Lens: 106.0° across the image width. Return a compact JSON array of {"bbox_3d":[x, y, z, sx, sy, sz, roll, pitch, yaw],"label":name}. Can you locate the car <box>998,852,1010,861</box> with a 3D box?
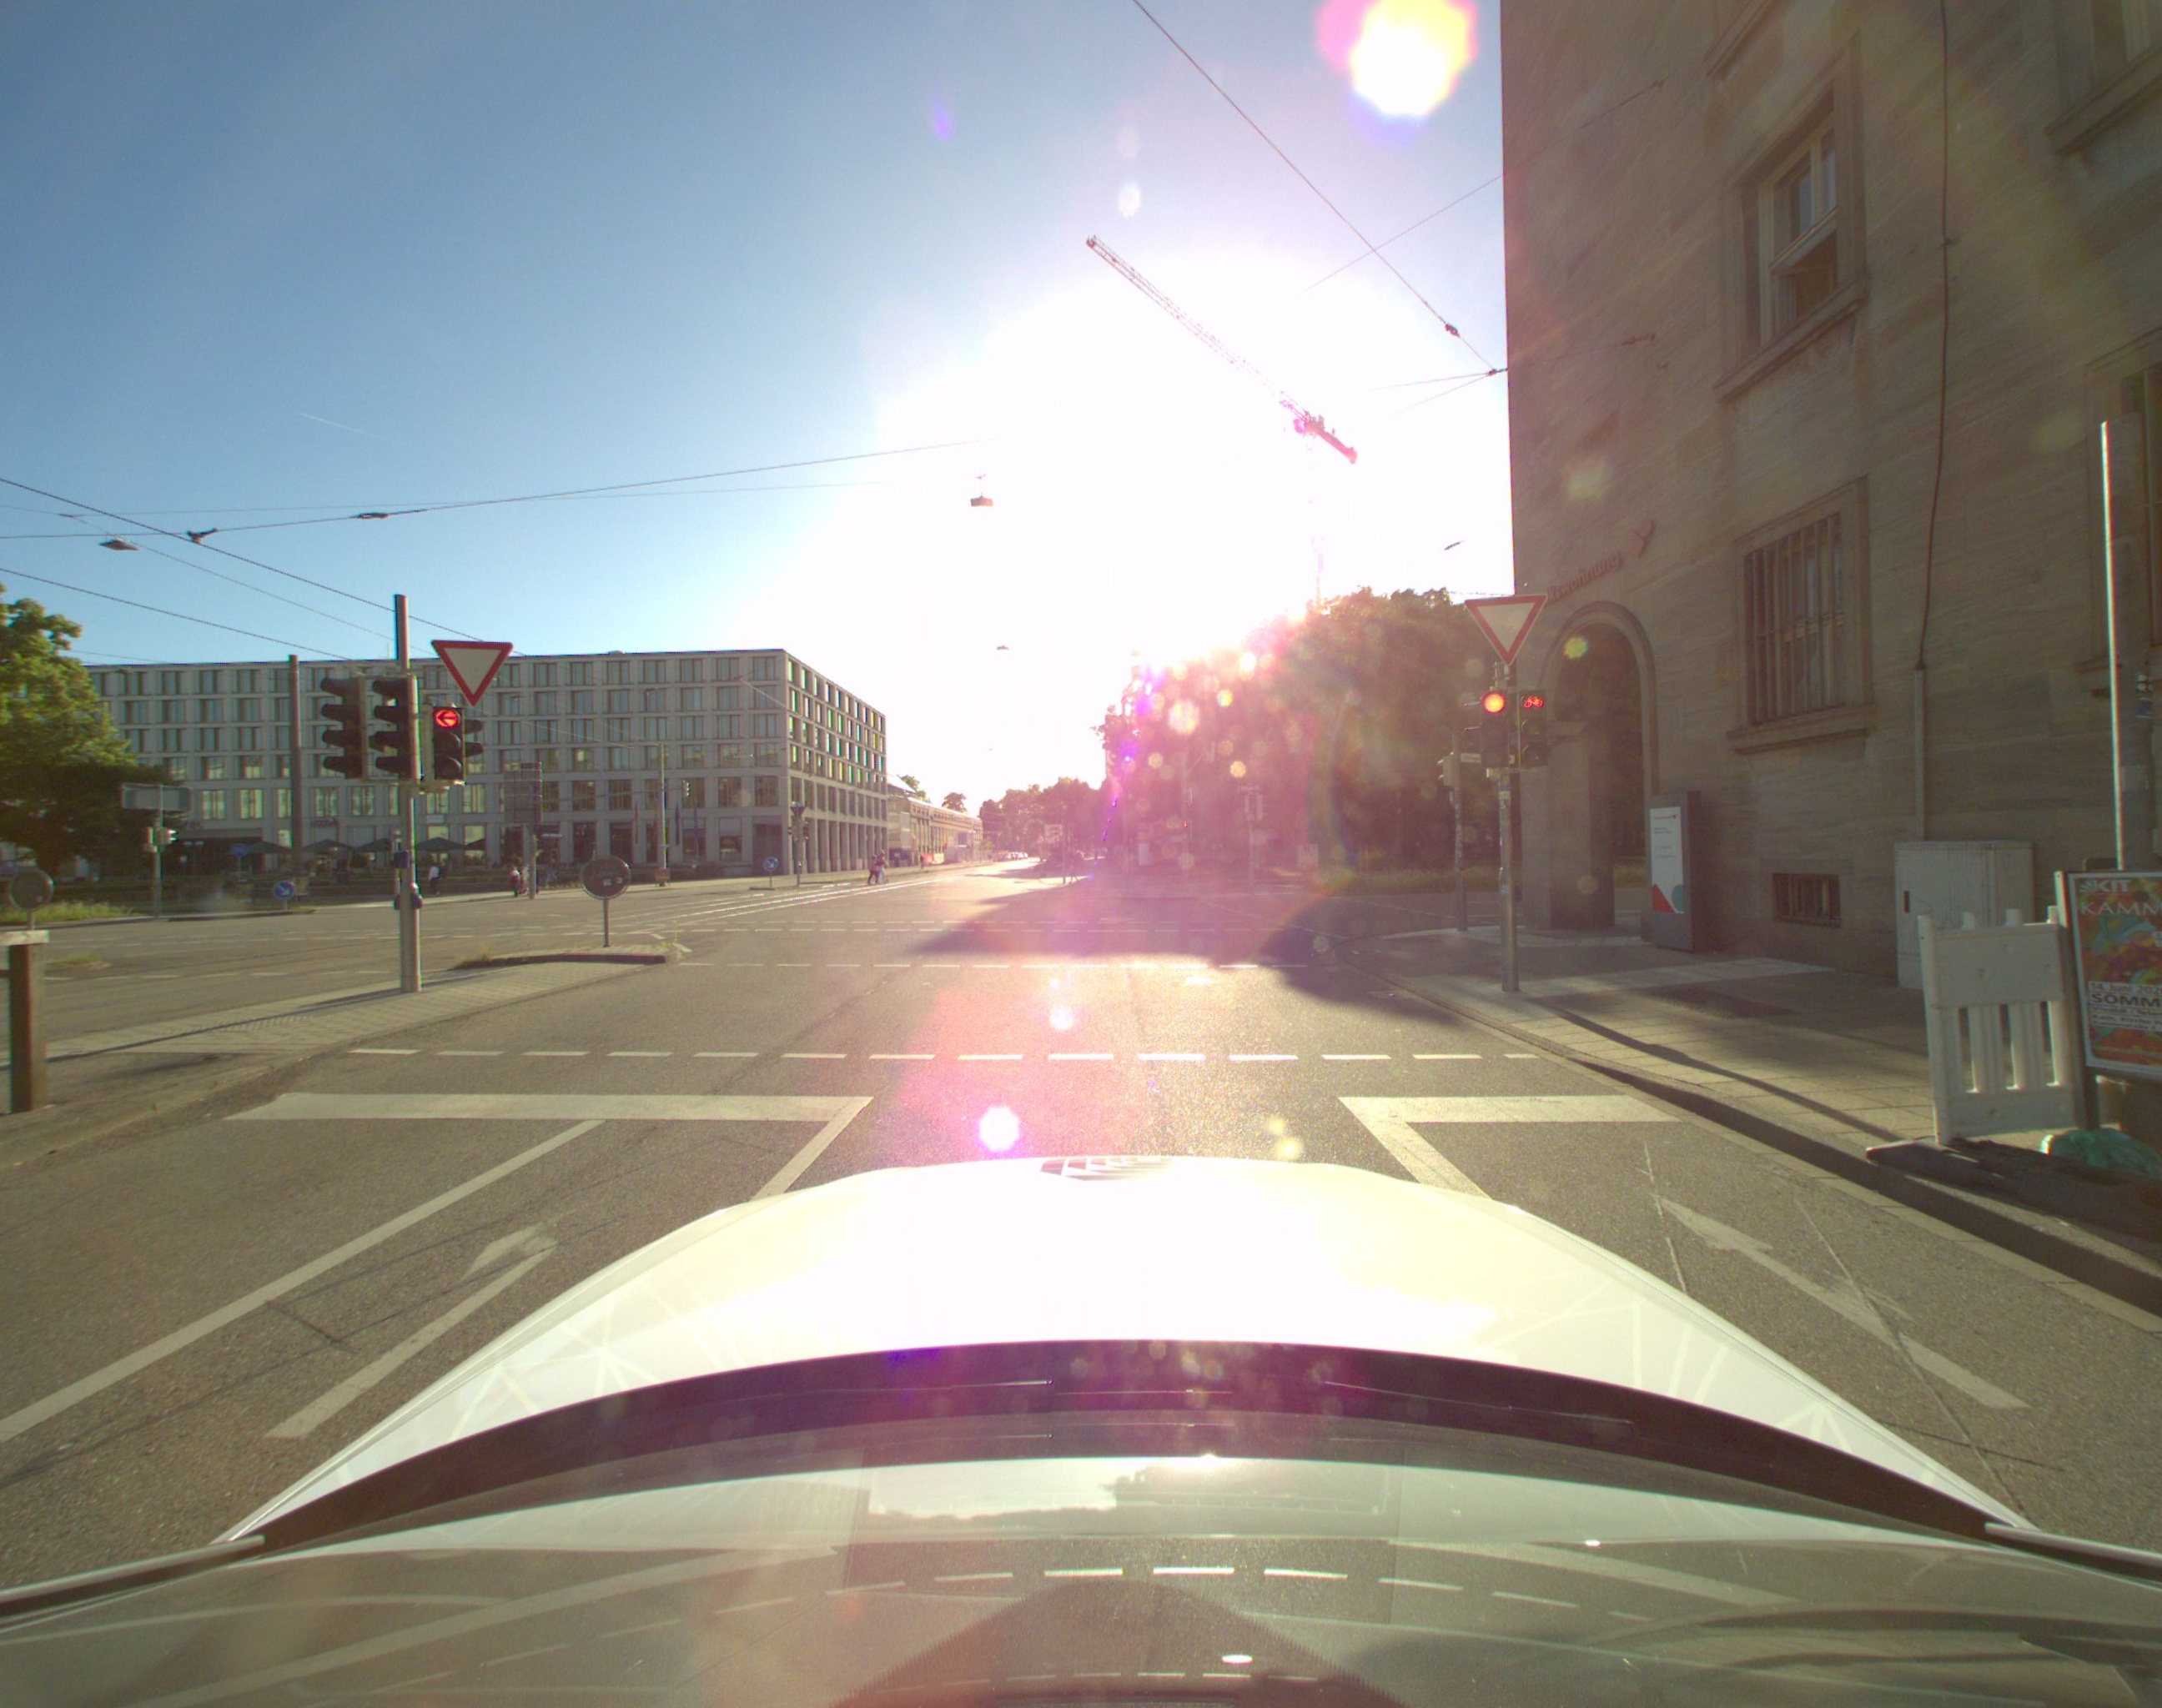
[{"bbox_3d":[-15.235,0.470,160.770,1.724,1.653,4.002,-2,0,2],"label":"car"}]

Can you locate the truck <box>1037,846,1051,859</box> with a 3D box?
[{"bbox_3d":[-6.401,-0.288,141.058,1.908,2.092,4.002,-2,0,2],"label":"truck"}]

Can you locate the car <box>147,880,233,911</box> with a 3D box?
[{"bbox_3d":[-46.815,2.175,42.805,3.167,1.438,1.474,-2,0,8],"label":"car"}]

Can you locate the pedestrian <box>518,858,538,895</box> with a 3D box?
[{"bbox_3d":[-30.676,1.253,45.180,0.528,2.013,0.800,-2,0,-5],"label":"pedestrian"}]

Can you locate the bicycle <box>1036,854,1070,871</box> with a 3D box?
[{"bbox_3d":[-2.324,0.722,67.371,2.728,1.367,0.633,-1,-1,12],"label":"bicycle"}]

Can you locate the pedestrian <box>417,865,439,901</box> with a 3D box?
[{"bbox_3d":[-35.385,1.581,44.145,0.557,1.903,0.684,-2,0,10],"label":"pedestrian"}]

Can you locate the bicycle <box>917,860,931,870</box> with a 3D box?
[{"bbox_3d":[-18.931,1.304,98.166,0.872,1.121,3.015,-2,0,3],"label":"bicycle"}]

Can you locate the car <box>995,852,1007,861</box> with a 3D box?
[{"bbox_3d":[-15.456,0.517,156.671,1.724,1.653,4.002,-2,0,2],"label":"car"}]

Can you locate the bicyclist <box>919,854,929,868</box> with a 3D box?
[{"bbox_3d":[-18.916,0.860,98.155,0.872,1.641,0.822,-2,0,3],"label":"bicyclist"}]

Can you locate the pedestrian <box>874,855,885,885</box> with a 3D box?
[{"bbox_3d":[-11.224,0.882,45.364,0.440,1.662,0.376,-2,0,1],"label":"pedestrian"}]

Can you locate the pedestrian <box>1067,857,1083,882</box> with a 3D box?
[{"bbox_3d":[-0.329,0.864,44.461,0.748,1.332,0.744,-2,0,6],"label":"pedestrian"}]

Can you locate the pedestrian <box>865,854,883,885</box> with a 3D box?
[{"bbox_3d":[-11.280,0.831,44.403,0.792,1.639,0.534,-2,0,4],"label":"pedestrian"}]

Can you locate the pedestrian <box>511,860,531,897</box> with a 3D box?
[{"bbox_3d":[-31.290,1.366,45.519,0.528,2.013,0.800,-2,0,-5],"label":"pedestrian"}]

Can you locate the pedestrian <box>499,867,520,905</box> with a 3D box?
[{"bbox_3d":[-30.922,1.737,44.065,0.528,2.013,0.800,-2,0,-5],"label":"pedestrian"}]

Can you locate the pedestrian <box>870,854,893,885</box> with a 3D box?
[{"bbox_3d":[-10.648,0.823,43.543,0.980,1.587,0.661,-2,-1,3],"label":"pedestrian"}]

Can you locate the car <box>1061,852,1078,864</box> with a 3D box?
[{"bbox_3d":[-1.296,0.428,91.611,1.814,1.279,3.999,-2,0,0],"label":"car"}]

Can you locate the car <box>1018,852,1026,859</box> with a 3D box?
[{"bbox_3d":[-14.076,0.318,194.289,1.478,1.750,4.002,-2,0,2],"label":"car"}]
